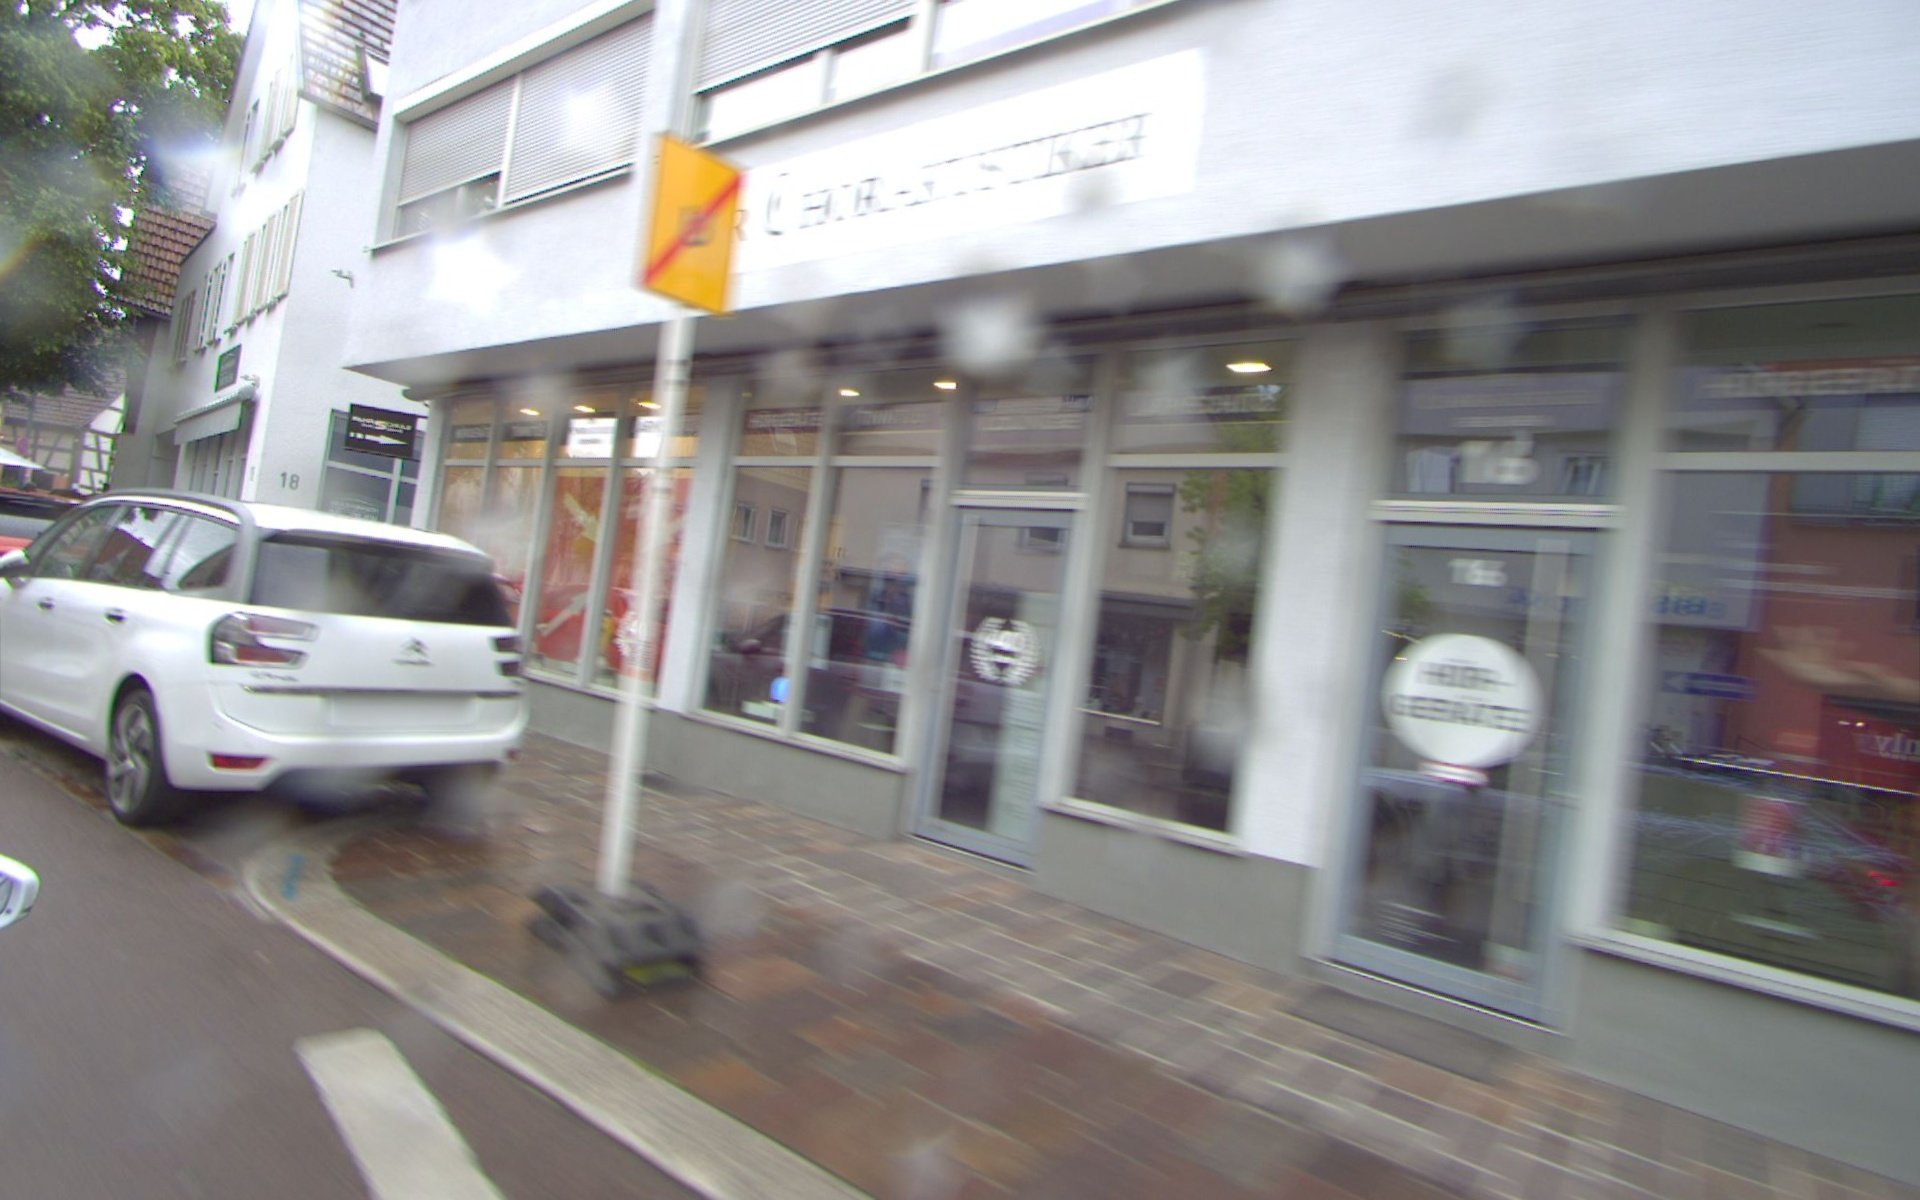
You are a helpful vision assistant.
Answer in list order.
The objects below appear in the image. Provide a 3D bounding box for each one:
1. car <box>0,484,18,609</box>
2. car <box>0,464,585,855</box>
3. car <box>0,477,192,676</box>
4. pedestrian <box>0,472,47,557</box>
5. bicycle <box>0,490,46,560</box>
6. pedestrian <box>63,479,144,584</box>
[{"bbox_3d":[-13.678,-0.884,12.644,3.887,1.573,1.790,7,-2,35],"label":"car"},{"bbox_3d":[-4.593,0.187,6.298,4.367,1.617,1.791,7,-3,33],"label":"car"},{"bbox_3d":[-9.024,-0.313,9.262,3.886,1.484,1.792,5,-4,34],"label":"car"},{"bbox_3d":[-20.600,-1.851,21.876,0.907,1.718,0.852,8,-2,-40],"label":"pedestrian"},{"bbox_3d":[-20.570,-1.648,21.795,0.921,1.366,2.191,8,-1,-40],"label":"bicycle"},{"bbox_3d":[-15.669,-1.232,18.411,0.883,1.732,0.879,10,-4,-44],"label":"pedestrian"}]
